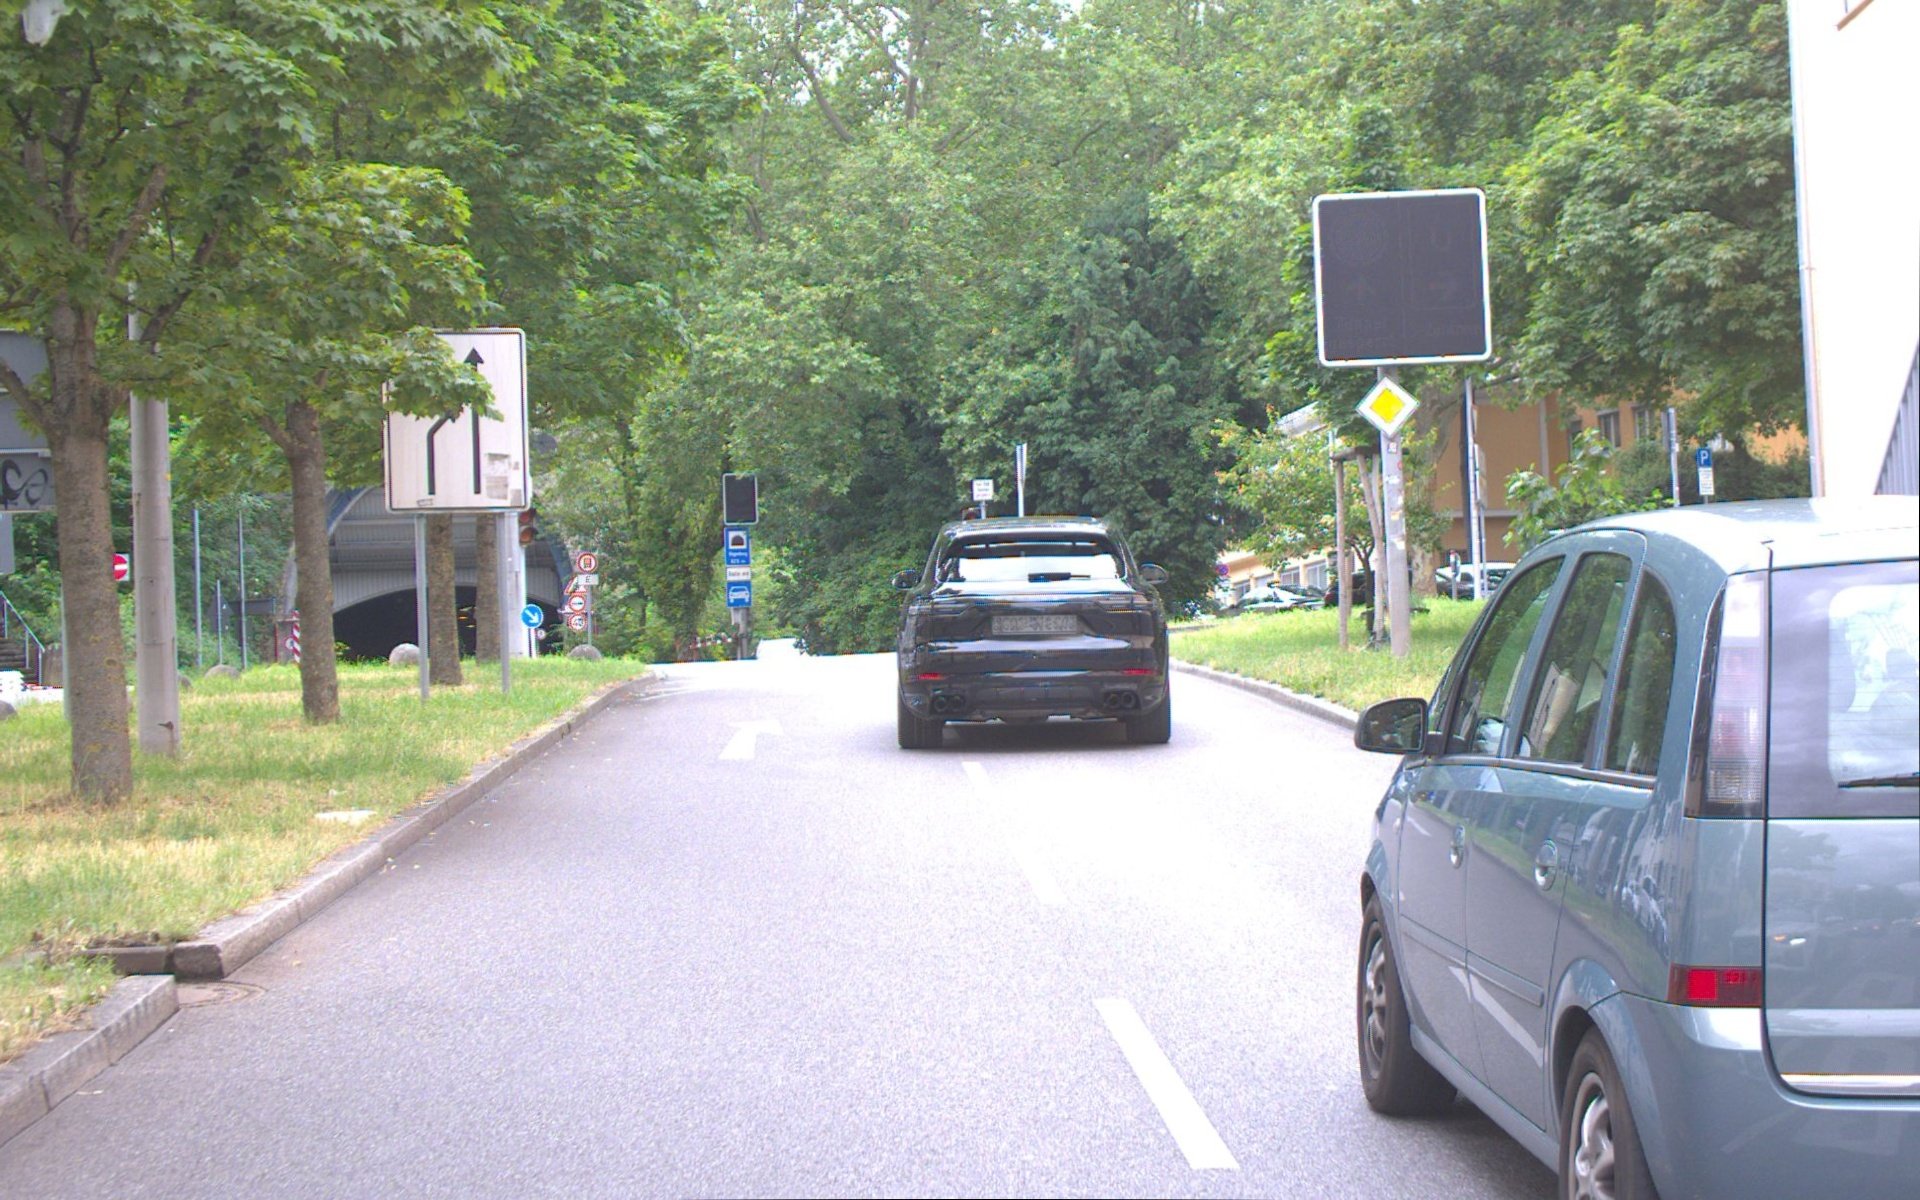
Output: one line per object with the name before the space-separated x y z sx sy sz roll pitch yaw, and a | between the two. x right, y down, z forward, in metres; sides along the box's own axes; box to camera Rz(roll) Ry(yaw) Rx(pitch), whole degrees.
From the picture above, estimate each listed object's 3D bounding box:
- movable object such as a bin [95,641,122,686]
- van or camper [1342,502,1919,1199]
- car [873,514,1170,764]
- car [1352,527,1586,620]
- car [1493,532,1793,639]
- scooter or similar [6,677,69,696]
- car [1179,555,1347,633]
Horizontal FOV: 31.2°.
movable object such as a bin | -18.650 1.399 75.277 0.515 0.964 0.444 2 -2 -17
van or camper | 1.948 0.602 7.536 1.735 1.572 3.646 0 1 -1
car | 0.407 0.273 25.927 1.993 1.647 4.000 -3 0 -1
car | 8.725 -0.467 58.704 1.998 1.413 3.990 -2 1 43
car | 10.587 -0.236 53.406 4.116 1.423 1.863 -3 1 -9
scooter or similar | -17.798 1.664 66.329 1.123 0.287 1.099 -3 -2 -17
car | 7.280 -0.122 83.167 1.993 1.573 4.905 -2 -2 -22
